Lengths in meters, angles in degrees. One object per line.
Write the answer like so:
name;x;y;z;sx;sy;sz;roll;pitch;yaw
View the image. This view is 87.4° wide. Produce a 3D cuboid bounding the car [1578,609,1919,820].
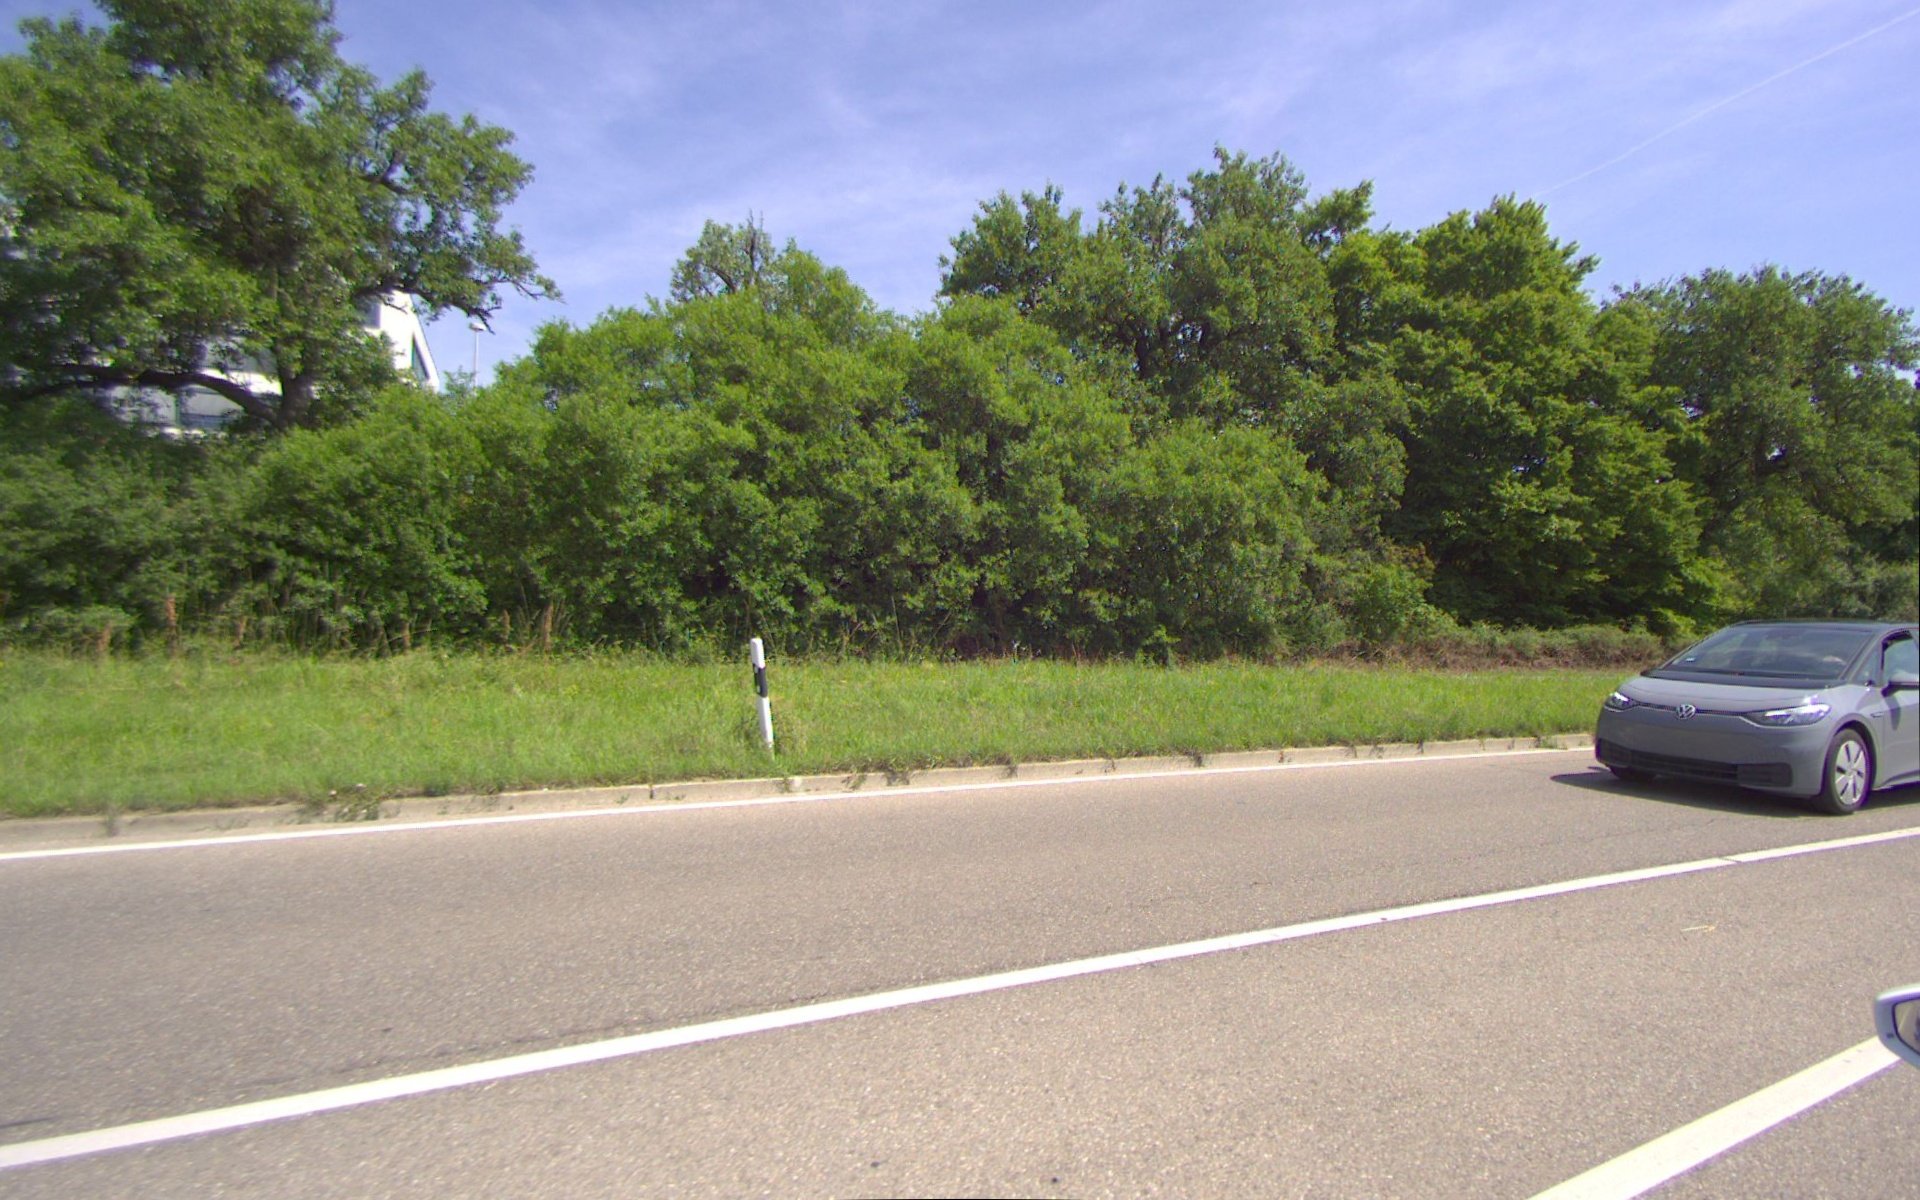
car;7.903;0.926;9.320;4.173;1.555;1.748;2;0;-27
